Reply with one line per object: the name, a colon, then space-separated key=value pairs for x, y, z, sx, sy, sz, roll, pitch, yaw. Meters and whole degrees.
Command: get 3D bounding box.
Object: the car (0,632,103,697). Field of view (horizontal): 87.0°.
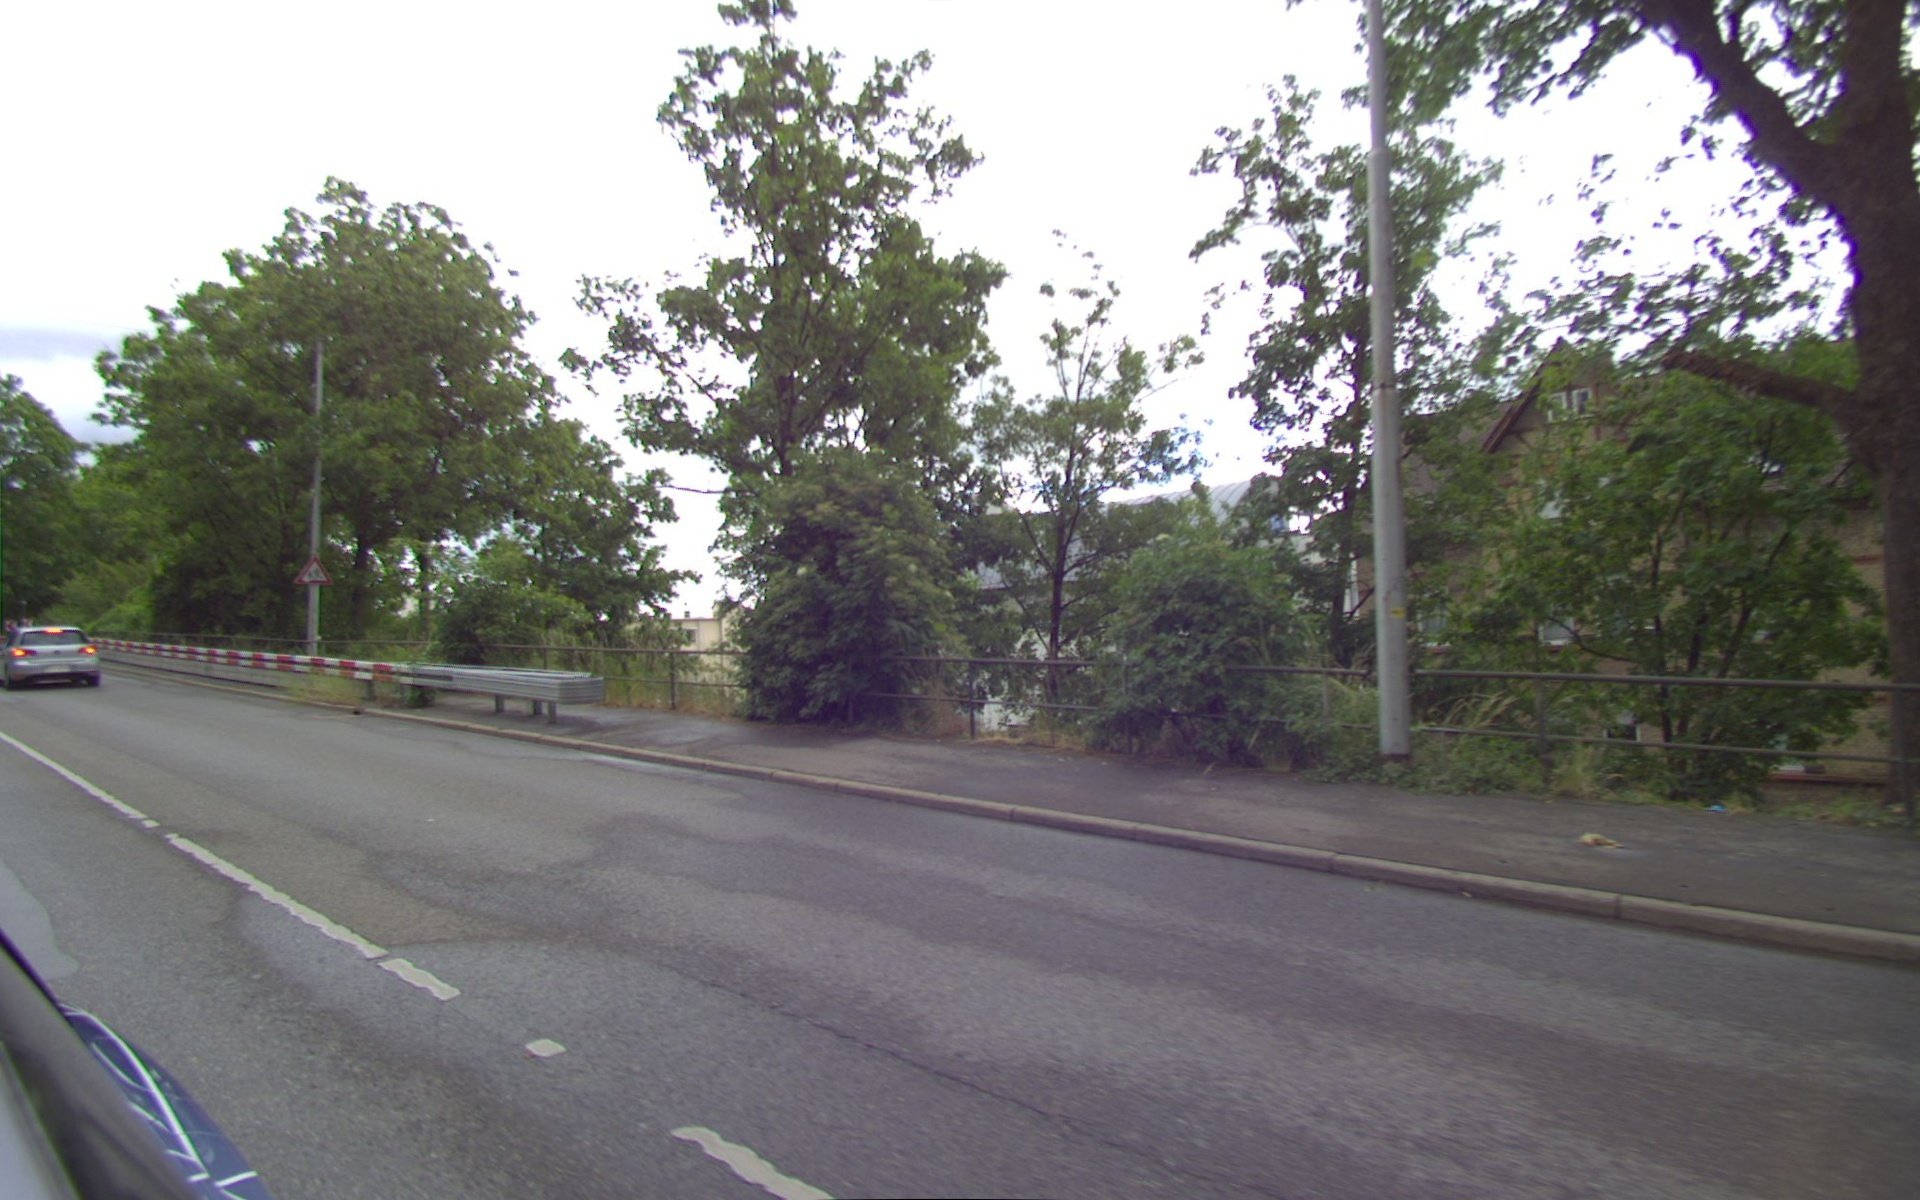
car: x=-22.702 y=1.547 z=24.967 sx=4.140 sy=1.438 sz=1.776 roll=-2 pitch=-2 yaw=41
